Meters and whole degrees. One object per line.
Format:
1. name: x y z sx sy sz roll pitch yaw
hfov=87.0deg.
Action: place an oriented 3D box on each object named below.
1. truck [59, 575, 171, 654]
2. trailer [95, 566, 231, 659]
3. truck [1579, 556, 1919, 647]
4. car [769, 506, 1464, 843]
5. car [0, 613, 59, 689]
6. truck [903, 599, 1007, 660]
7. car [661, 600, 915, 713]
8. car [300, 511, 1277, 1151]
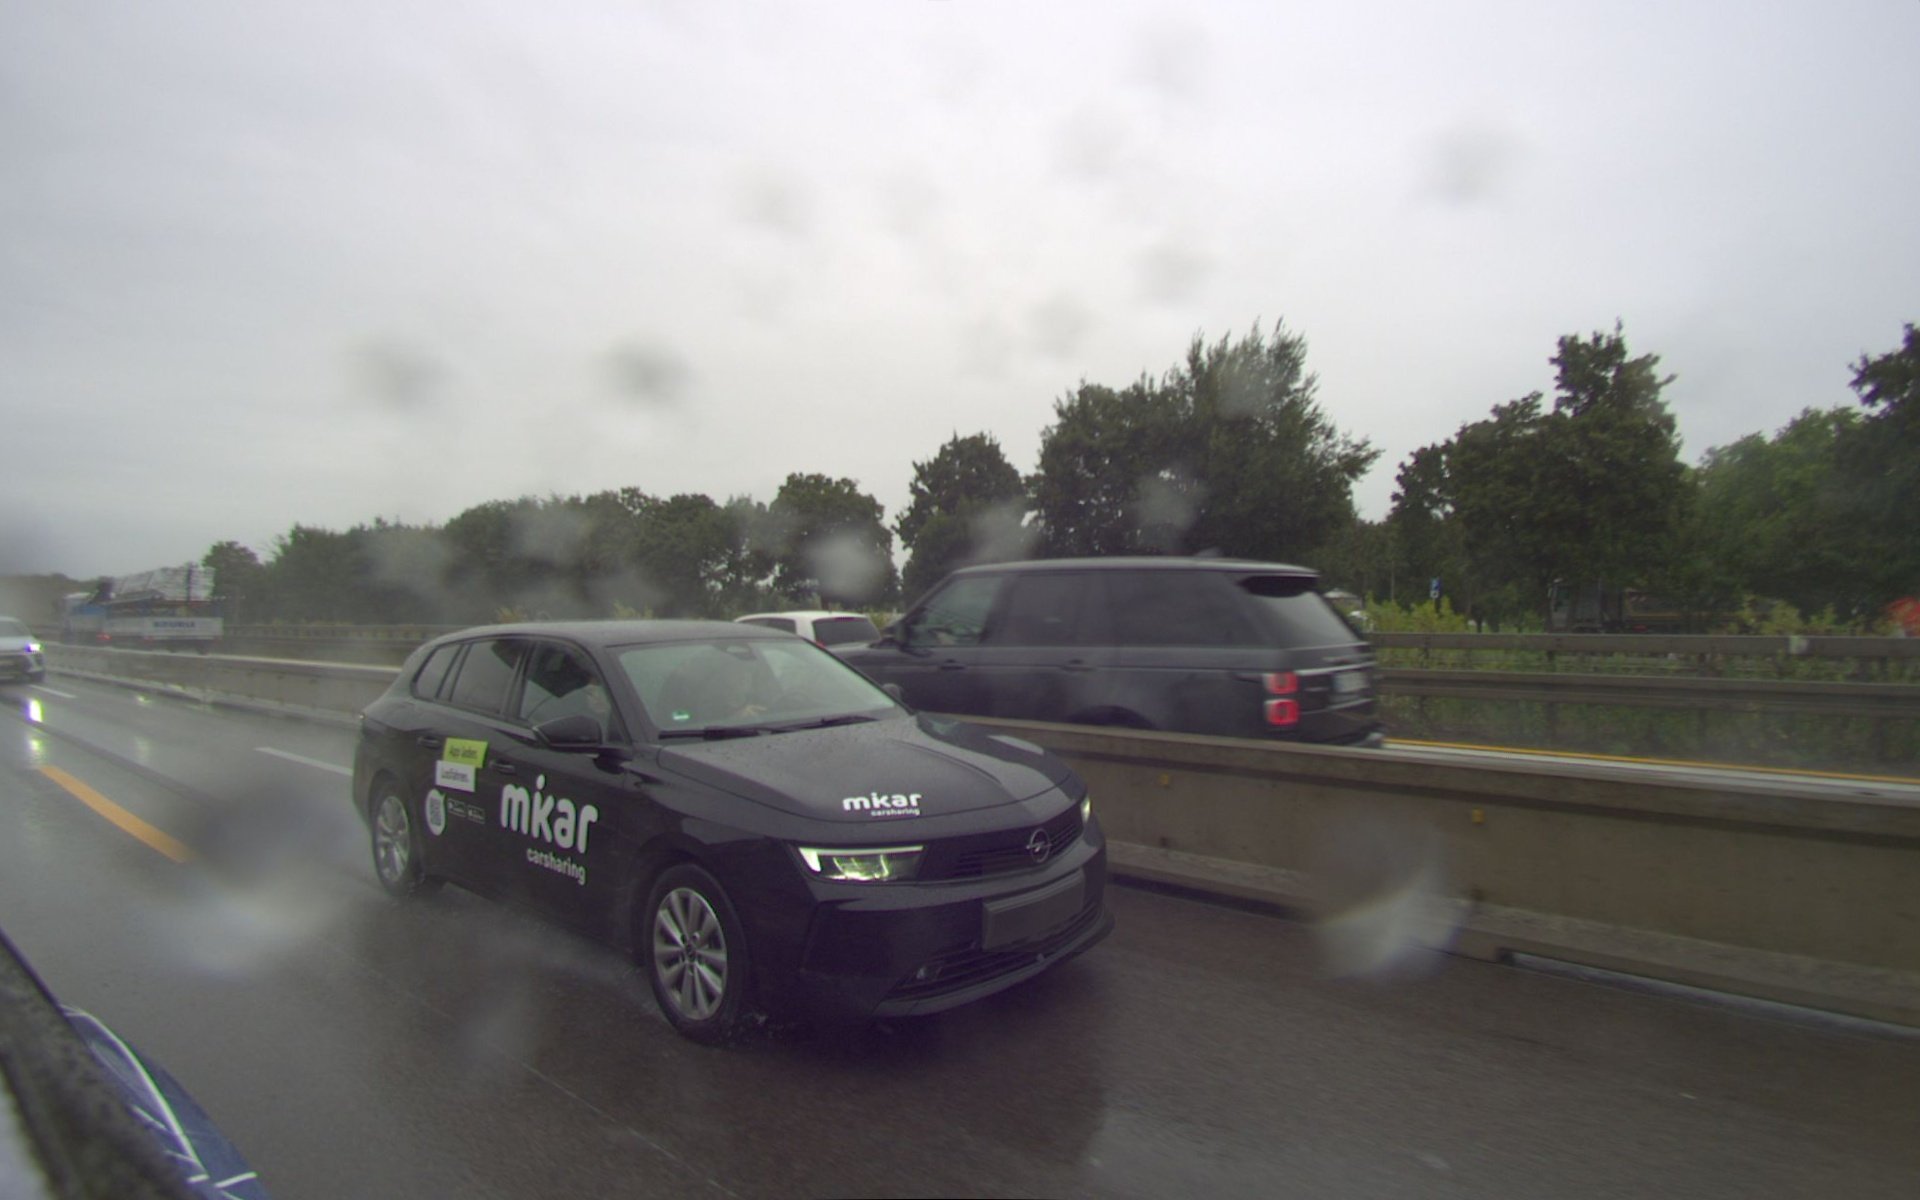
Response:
1. truck: -39.974 0.704 47.732 9.547 3.373 2.612 -1 -1 41
2. trailer: -32.742 0.542 41.363 9.709 3.388 2.634 -1 -1 41
3. truck: 26.427 0.099 34.359 8.900 2.724 2.488 -1 -1 42
4. car: 0.853 0.414 7.366 4.737 1.700 1.879 -1 -1 40
5. car: -23.782 1.199 24.731 3.994 1.693 1.948 0 1 38
6. truck: -0.345 1.613 58.327 5.869 3.237 2.584 1 1 44
7. car: -2.607 0.755 14.810 3.890 1.446 1.553 -1 -1 40
8. car: -1.212 0.597 4.748 4.793 1.539 1.919 -1 -1 41
